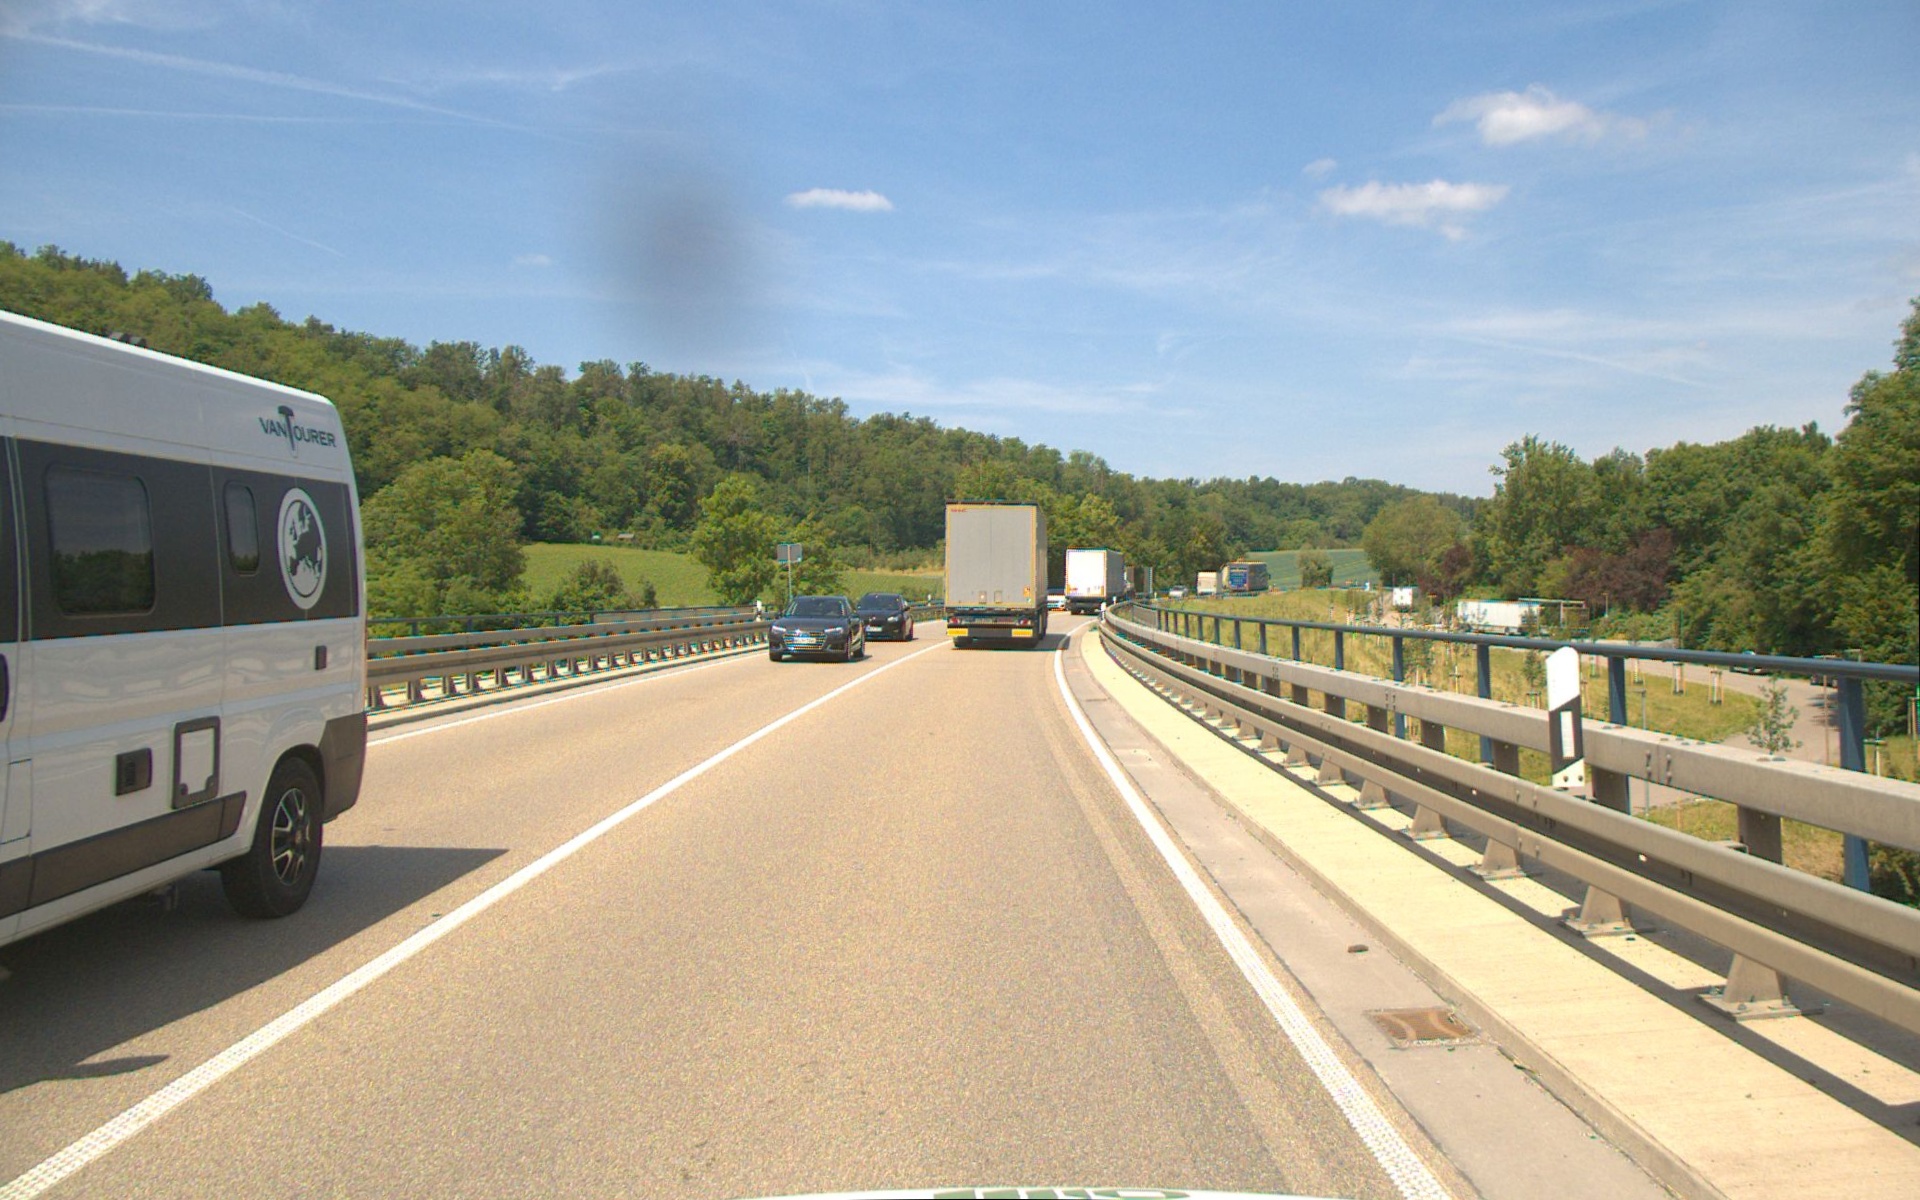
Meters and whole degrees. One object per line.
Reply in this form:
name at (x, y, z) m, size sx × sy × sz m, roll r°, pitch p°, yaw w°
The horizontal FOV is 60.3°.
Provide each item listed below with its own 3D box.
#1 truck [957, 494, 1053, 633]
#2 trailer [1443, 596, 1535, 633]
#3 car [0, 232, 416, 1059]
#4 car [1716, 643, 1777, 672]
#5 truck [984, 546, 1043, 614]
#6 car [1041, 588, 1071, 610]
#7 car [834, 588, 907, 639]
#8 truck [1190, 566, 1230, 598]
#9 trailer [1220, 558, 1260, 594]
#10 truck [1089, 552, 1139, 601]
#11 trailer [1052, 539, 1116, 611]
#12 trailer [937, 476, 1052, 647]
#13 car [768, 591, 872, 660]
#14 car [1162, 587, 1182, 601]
truck at (1.685, -1.245, 58.110) m, size 3.053 × 4.573 × 6.815 m, roll 1°, pitch 1°, yaw 4°
trailer at (53.339, 1.394, 167.264) m, size 2.675 × 3.386 × 11.843 m, roll 0°, pitch 1°, yaw -16°
car at (-4.084, 0.131, 6.186) m, size 2.134 × 2.604 × 5.797 m, roll 1°, pitch 0°, yaw 0°
car at (50.276, 3.628, 105.775) m, size 1.819 × 1.508 × 4.610 m, roll -3°, pitch 1°, yaw 3°
truck at (3.287, -1.197, 98.723) m, size 2.853 × 3.870 × 9.715 m, roll 0°, pitch 1°, yaw 5°
car at (7.007, -0.082, 120.286) m, size 1.720 × 1.538 × 4.003 m, roll 1°, pitch -1°, yaw 10°
car at (-2.823, 0.394, 52.931) m, size 1.684 × 1.508 × 4.572 m, roll 1°, pitch 1°, yaw 5°
truck at (28.452, -2.001, 187.984) m, size 3.154 × 3.424 × 11.883 m, roll 0°, pitch 0°, yaw 15°
trailer at (35.518, -3.016, 209.367) m, size 3.571 × 4.337 × 12.201 m, roll 0°, pitch 0°, yaw 17°
truck at (14.181, -2.054, 151.765) m, size 2.995 × 4.337 × 9.875 m, roll 0°, pitch 0°, yaw 14°
trailer at (8.191, -1.509, 107.603) m, size 3.293 × 4.392 × 13.875 m, roll 0°, pitch 0°, yaw 7°
trailer at (1.284, -1.154, 51.286) m, size 3.053 × 4.578 × 13.893 m, roll 1°, pitch 1°, yaw 3°
car at (-3.139, 0.539, 37.833) m, size 1.685 × 1.460 × 4.619 m, roll 1°, pitch 0°, yaw 4°
car at (24.112, -0.719, 187.632) m, size 1.730 × 1.520 × 4.173 m, roll 1°, pitch 0°, yaw 14°
